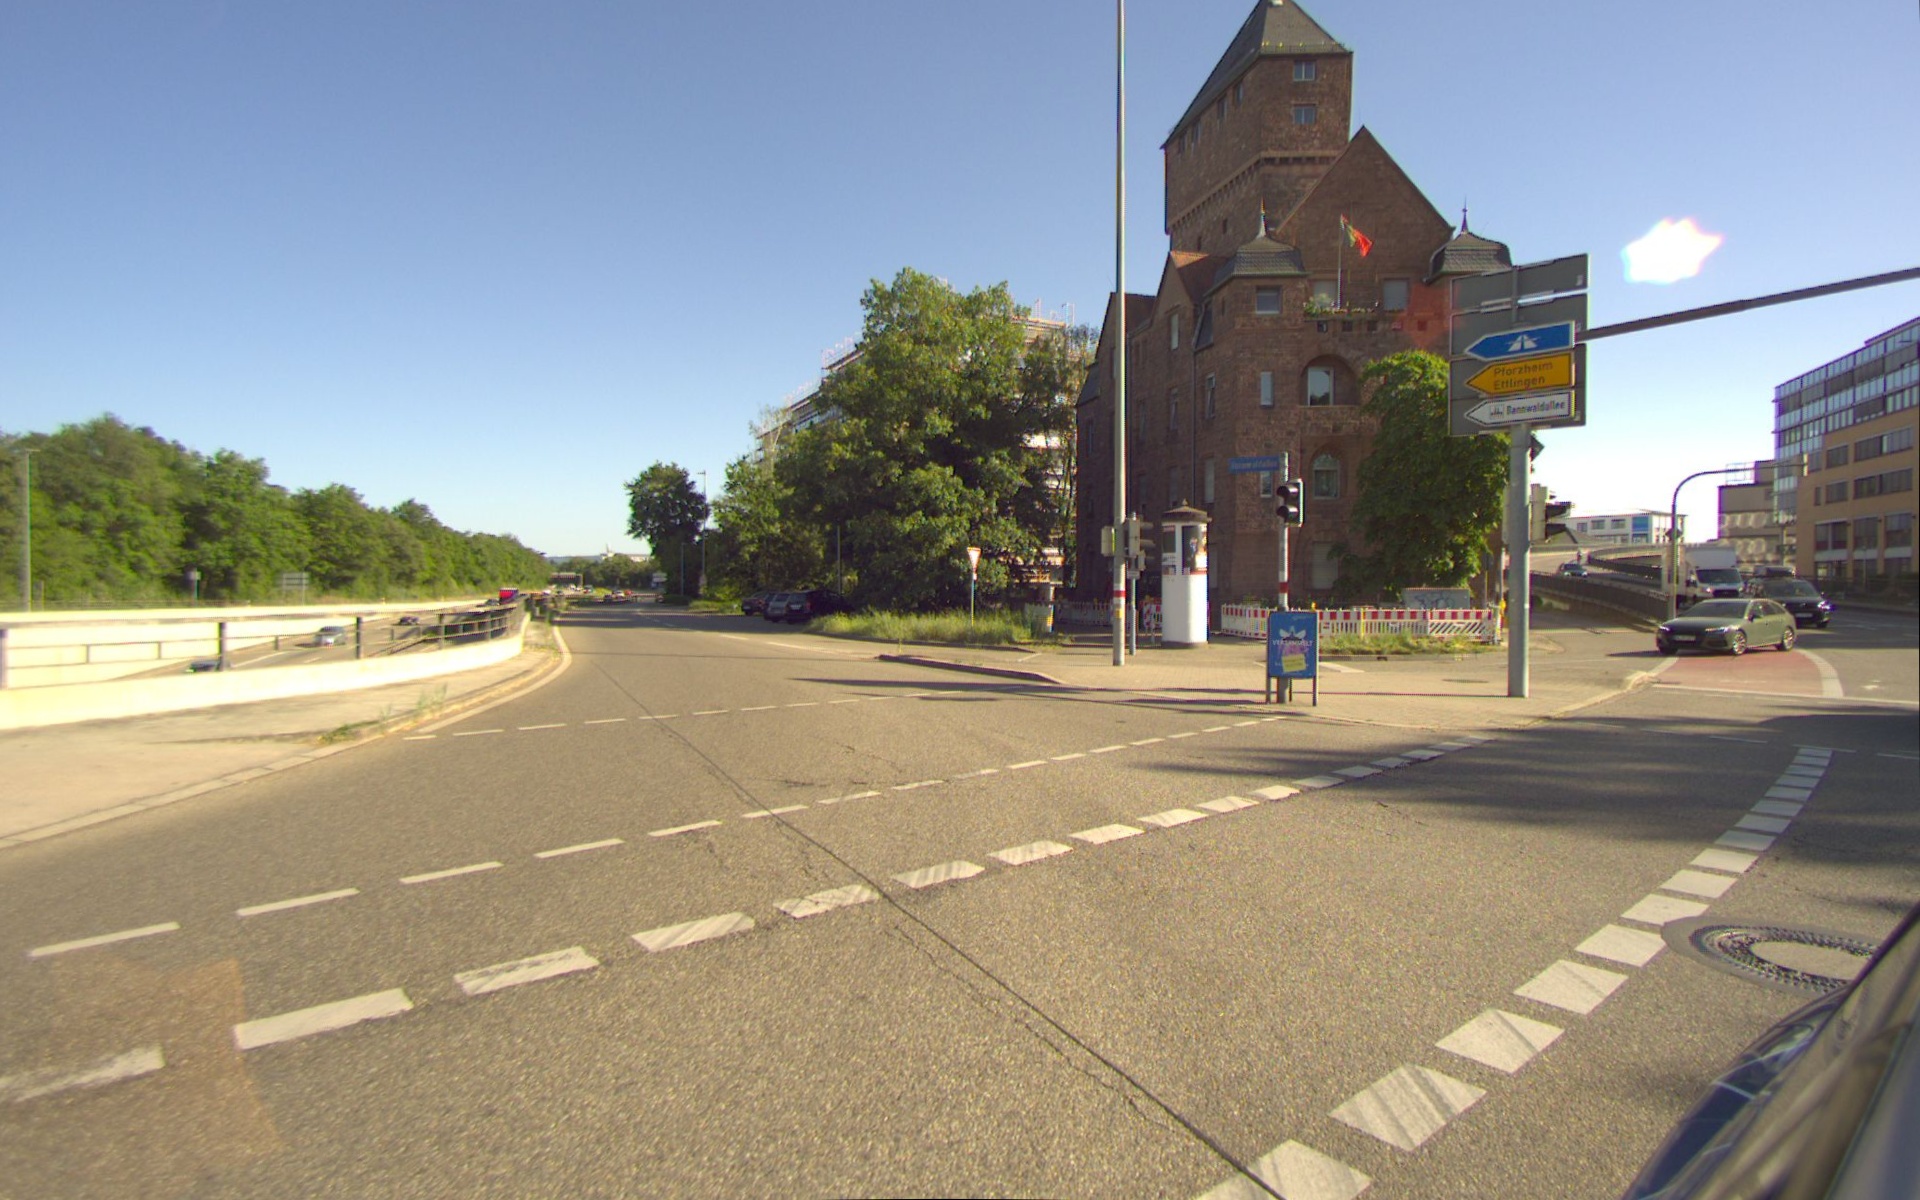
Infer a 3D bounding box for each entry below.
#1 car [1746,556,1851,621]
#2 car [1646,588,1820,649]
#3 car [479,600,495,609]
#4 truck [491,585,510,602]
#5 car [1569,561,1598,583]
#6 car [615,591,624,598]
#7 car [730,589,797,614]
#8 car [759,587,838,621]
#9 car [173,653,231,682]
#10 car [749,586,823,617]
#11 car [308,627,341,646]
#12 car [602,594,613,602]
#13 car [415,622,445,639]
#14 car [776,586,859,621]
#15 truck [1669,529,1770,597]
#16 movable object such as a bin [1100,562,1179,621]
[{"bbox_3d":[31.571,-0.433,38.261,1.932,2.290,4.743,0,1,26],"label":"car"},{"bbox_3d":[20.725,0.465,27.120,4.541,1.489,1.883,-1,-1,-27],"label":"car"},{"bbox_3d":[-77.837,0.730,166.632,1.958,1.415,4.008,-3,1,-20],"label":"car"},{"bbox_3d":[-72.022,-1.043,158.733,2.239,2.416,5.395,-2,1,-19],"label":"truck"},{"bbox_3d":[51.945,-2.334,84.353,1.741,1.781,4.739,0,1,28],"label":"car"},{"bbox_3d":[-77.423,-1.196,230.101,1.958,1.415,4.008,-3,1,-20],"label":"car"},{"bbox_3d":[-11.899,0.073,61.469,1.984,1.472,3.740,1,1,31],"label":"car"},{"bbox_3d":[-8.029,0.163,50.528,1.984,1.581,3.740,1,1,31],"label":"car"},{"bbox_3d":[-47.208,4.160,63.114,1.958,1.505,4.007,0,0,-23],"label":"car"},{"bbox_3d":[-9.341,0.031,54.420,1.984,1.581,3.740,1,1,31],"label":"car"},{"bbox_3d":[-57.105,3.270,91.010,1.958,1.594,4.007,0,0,-23],"label":"car"},{"bbox_3d":[-68.656,-0.439,197.057,1.958,1.415,4.008,-3,1,-20],"label":"car"},{"bbox_3d":[-50.818,2.935,97.120,1.958,1.415,4.008,-3,1,-20],"label":"car"},{"bbox_3d":[-6.666,0.142,47.771,1.984,1.581,3.740,1,1,31],"label":"car"},{"bbox_3d":[37.562,-1.763,50.279,2.477,3.167,6.903,0,1,24],"label":"truck"},{"bbox_3d":[7.779,-0.376,44.198,1.958,2.439,4.008,0,1,-13],"label":"movable object such as a bin"}]
